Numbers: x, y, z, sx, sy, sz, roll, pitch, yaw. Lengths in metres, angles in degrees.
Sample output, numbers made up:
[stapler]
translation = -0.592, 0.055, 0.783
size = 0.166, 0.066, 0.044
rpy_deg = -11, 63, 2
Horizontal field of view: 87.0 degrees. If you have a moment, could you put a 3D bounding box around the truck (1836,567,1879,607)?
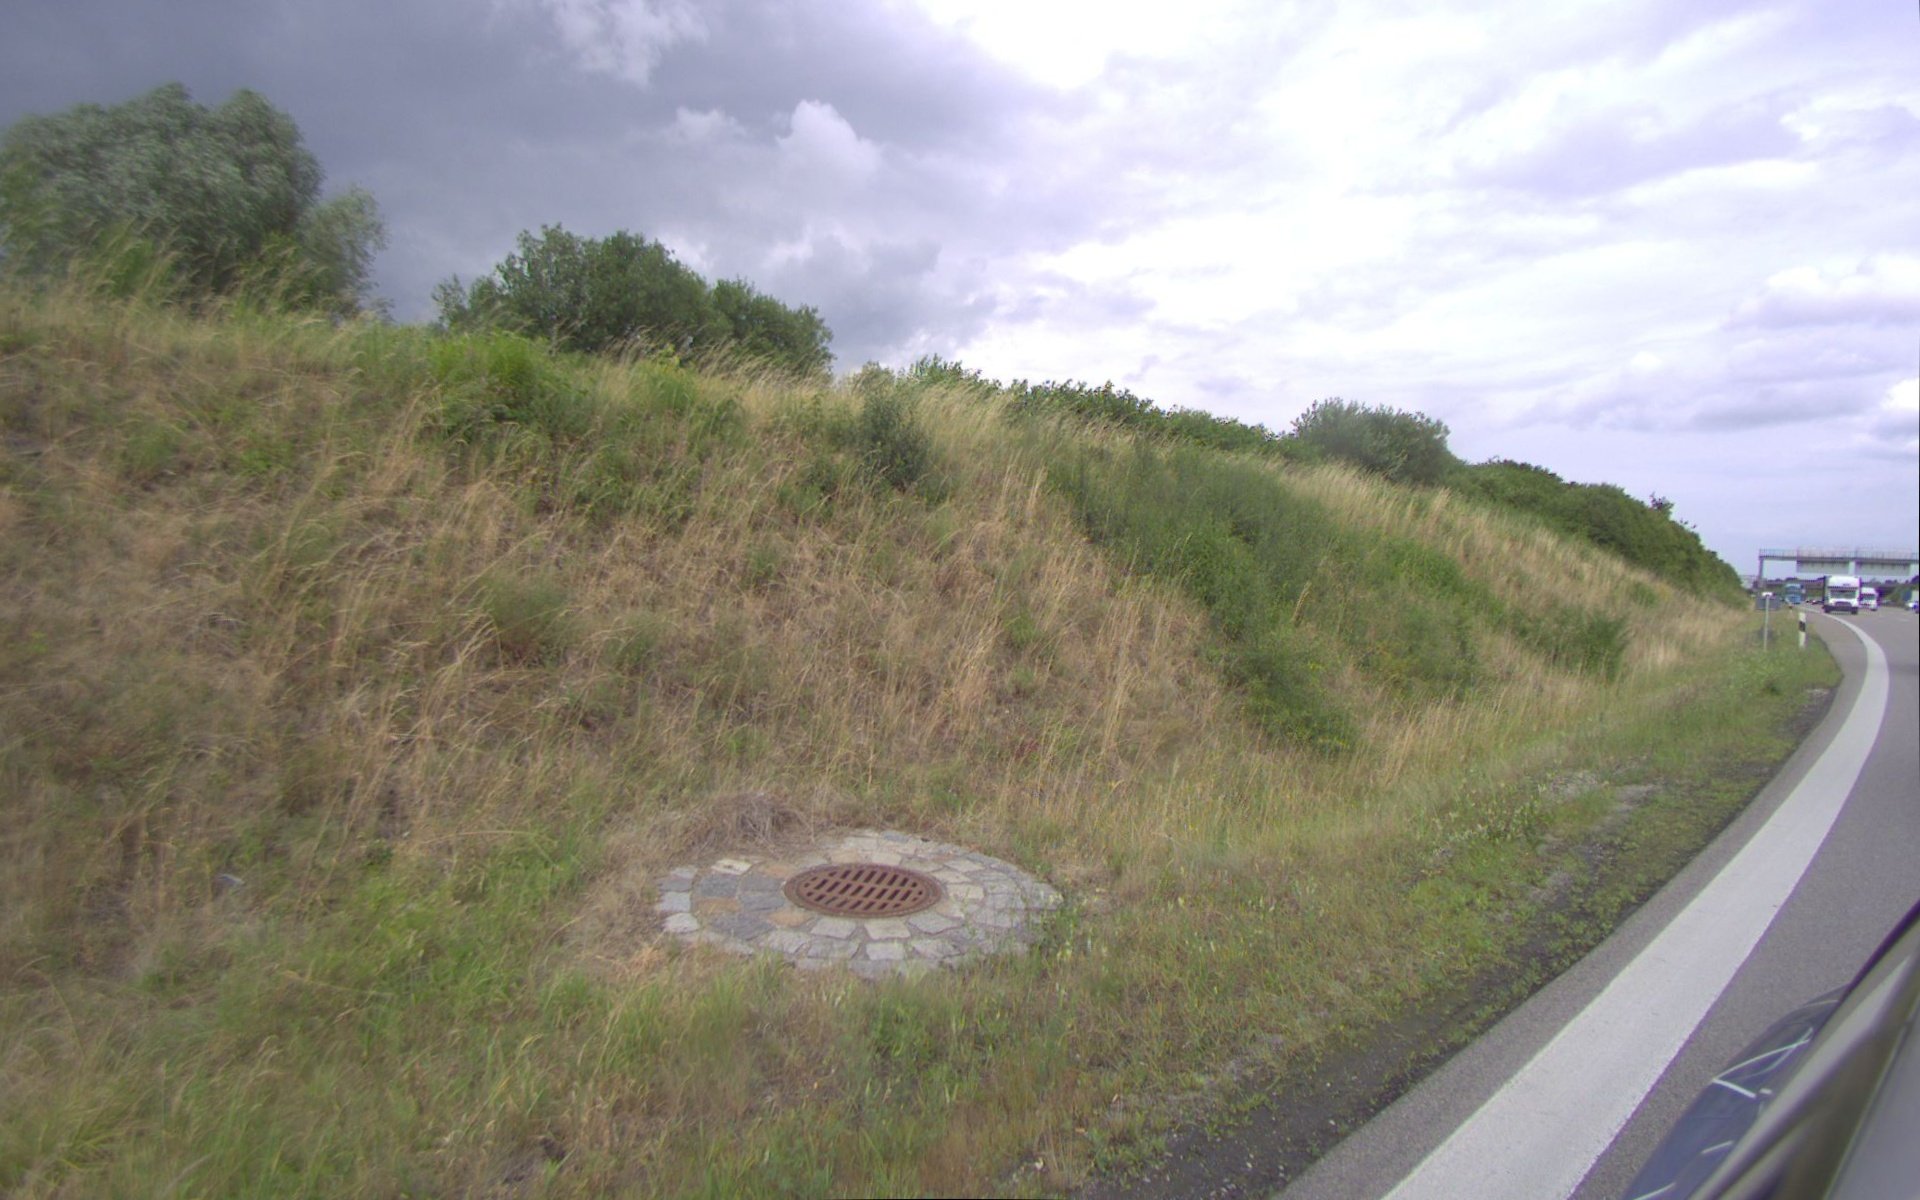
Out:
[truck]
translation = 75.615, -1.108, 85.387
size = 2.439, 3.275, 7.087
rpy_deg = 2, 2, 40

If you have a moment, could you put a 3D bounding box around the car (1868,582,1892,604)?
[car]
translation = 105.747, -0.829, 116.354
size = 1.992, 2.425, 3.939
rpy_deg = 0, 1, 42
